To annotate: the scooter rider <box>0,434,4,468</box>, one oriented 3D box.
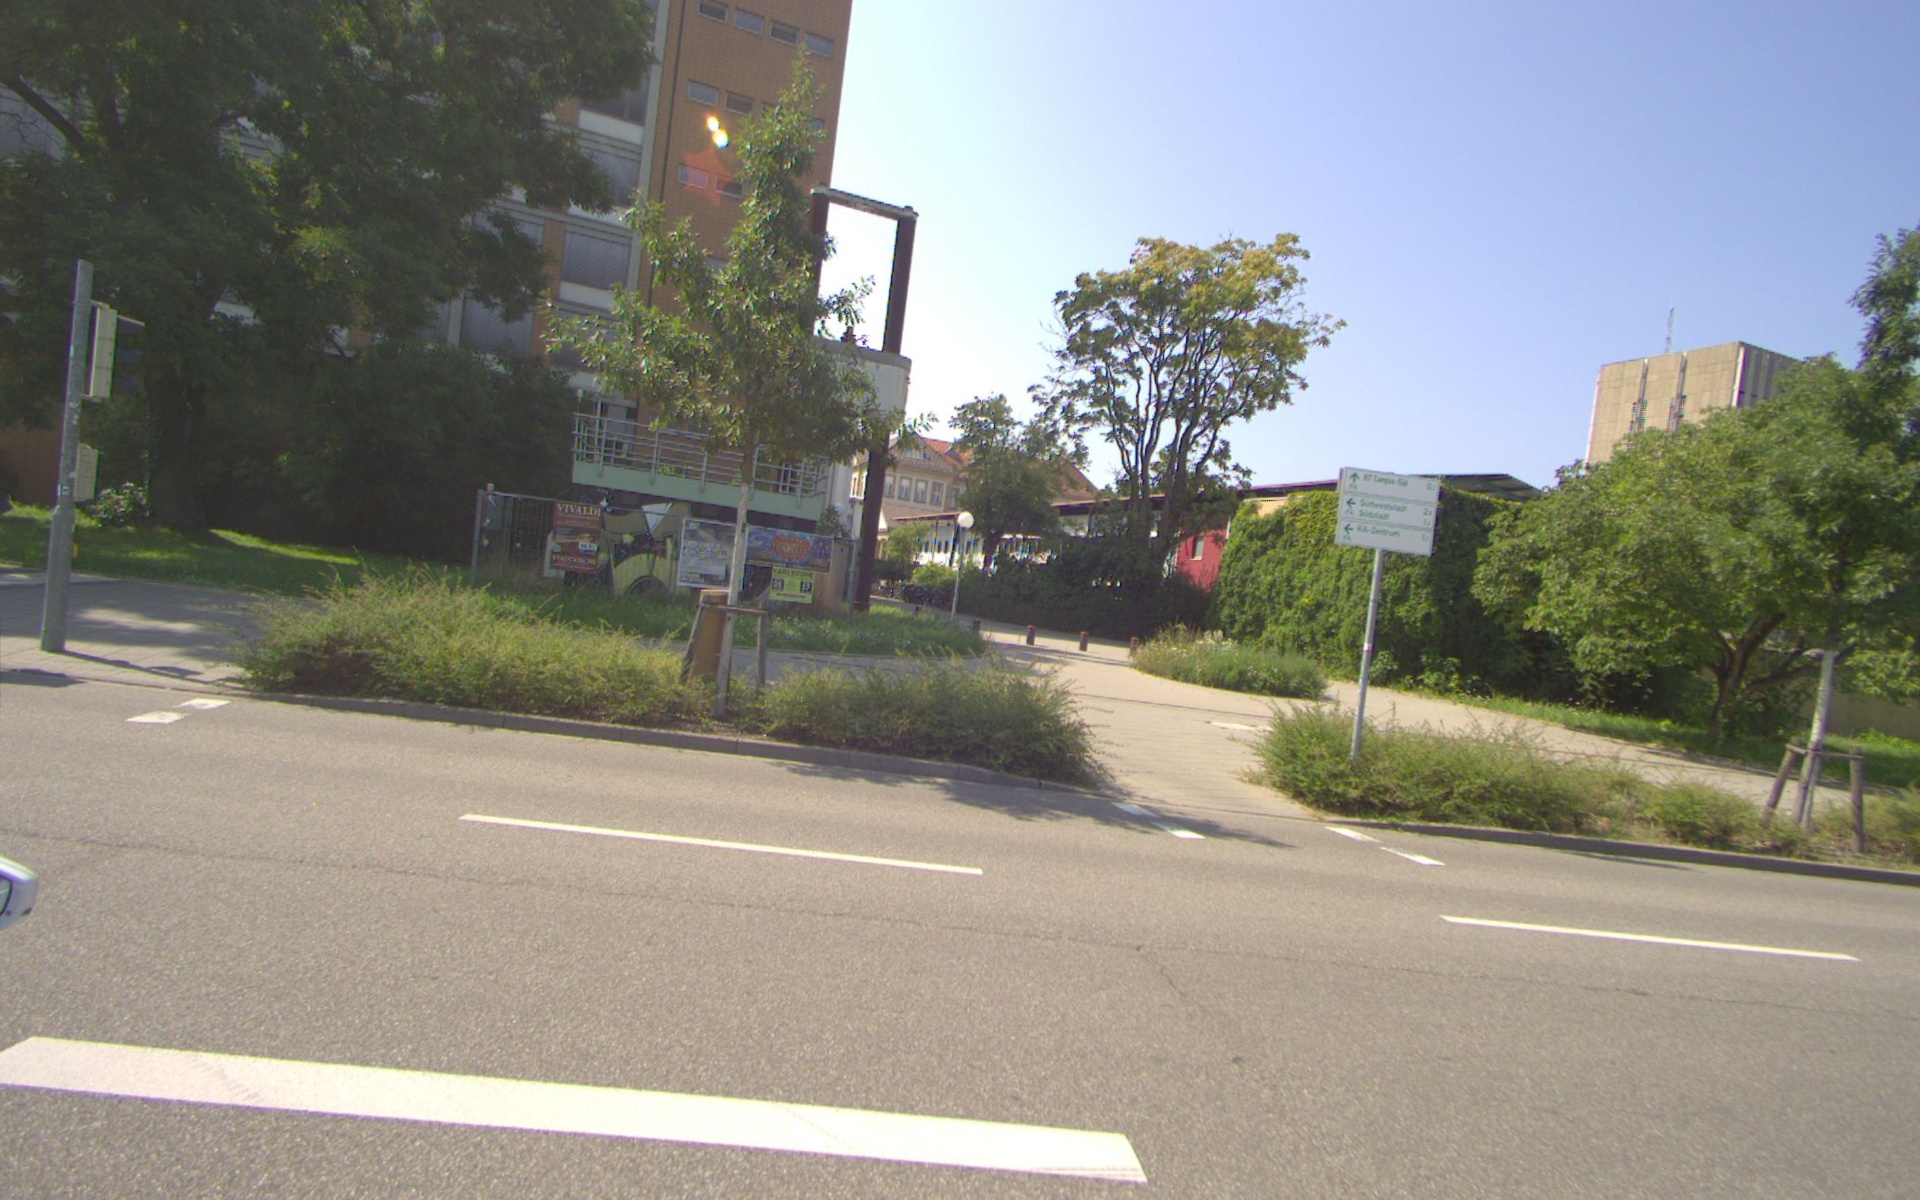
[{"bbox_3d":[-8.407,-0.575,8.232,0.531,1.721,0.669,10,2,41],"label":"scooter rider"}]
